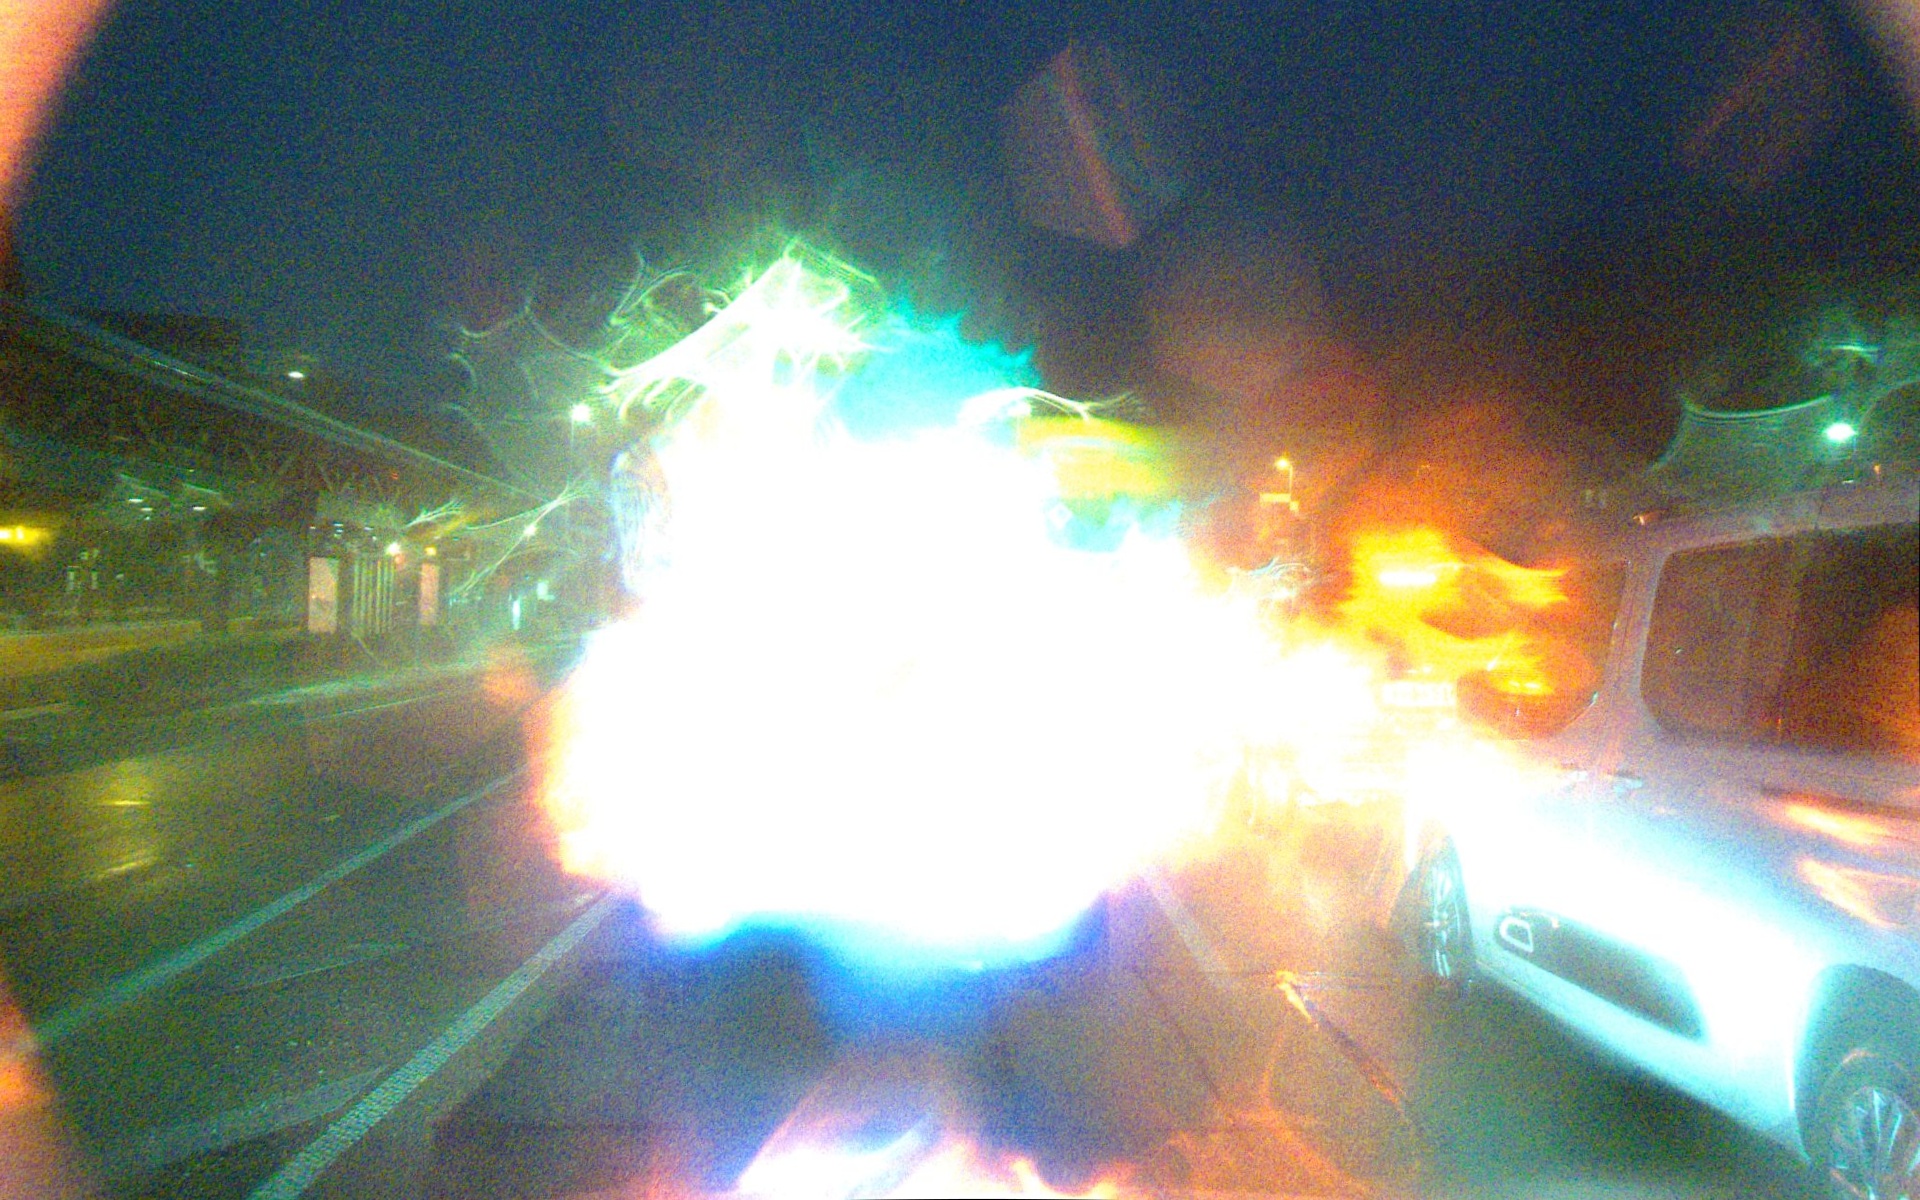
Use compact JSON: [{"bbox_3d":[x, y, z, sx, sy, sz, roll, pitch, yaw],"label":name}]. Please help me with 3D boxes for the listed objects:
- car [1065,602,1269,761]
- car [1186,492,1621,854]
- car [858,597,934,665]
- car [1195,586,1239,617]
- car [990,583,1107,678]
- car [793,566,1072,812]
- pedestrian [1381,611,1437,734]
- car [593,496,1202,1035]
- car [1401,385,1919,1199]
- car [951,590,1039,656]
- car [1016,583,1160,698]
[{"bbox_3d":[2.449,0.930,20.557,1.953,1.748,3.999,1,0,-1],"label":"car"},{"bbox_3d":[2.875,0.437,11.690,1.929,2.082,3.999,1,0,-1],"label":"car"},{"bbox_3d":[-1.899,0.872,48.045,1.955,1.856,3.995,1,0,-6],"label":"car"},{"bbox_3d":[14.621,0.115,94.411,1.827,1.675,3.962,-2,0,0],"label":"car"},{"bbox_3d":[1.752,0.594,34.026,1.954,1.804,3.997,1,0,-4],"label":"car"},{"bbox_3d":[-0.226,0.640,13.755,1.953,1.713,3.999,1,0,-1],"label":"car"},{"bbox_3d":[6.410,1.025,23.628,0.610,1.731,0.540,1,-1,-3],"label":"pedestrian"},{"bbox_3d":[-0.267,0.560,7.674,1.974,1.747,4.450,1,0,-2],"label":"car"},{"bbox_3d":[2.755,0.549,4.603,1.814,1.897,4.339,1,0,-1],"label":"car"},{"bbox_3d":[0.839,0.573,42.257,1.821,1.571,3.926,1,0,-5],"label":"car"},{"bbox_3d":[2.000,0.623,27.002,1.953,1.699,3.999,1,0,-1],"label":"car"}]
